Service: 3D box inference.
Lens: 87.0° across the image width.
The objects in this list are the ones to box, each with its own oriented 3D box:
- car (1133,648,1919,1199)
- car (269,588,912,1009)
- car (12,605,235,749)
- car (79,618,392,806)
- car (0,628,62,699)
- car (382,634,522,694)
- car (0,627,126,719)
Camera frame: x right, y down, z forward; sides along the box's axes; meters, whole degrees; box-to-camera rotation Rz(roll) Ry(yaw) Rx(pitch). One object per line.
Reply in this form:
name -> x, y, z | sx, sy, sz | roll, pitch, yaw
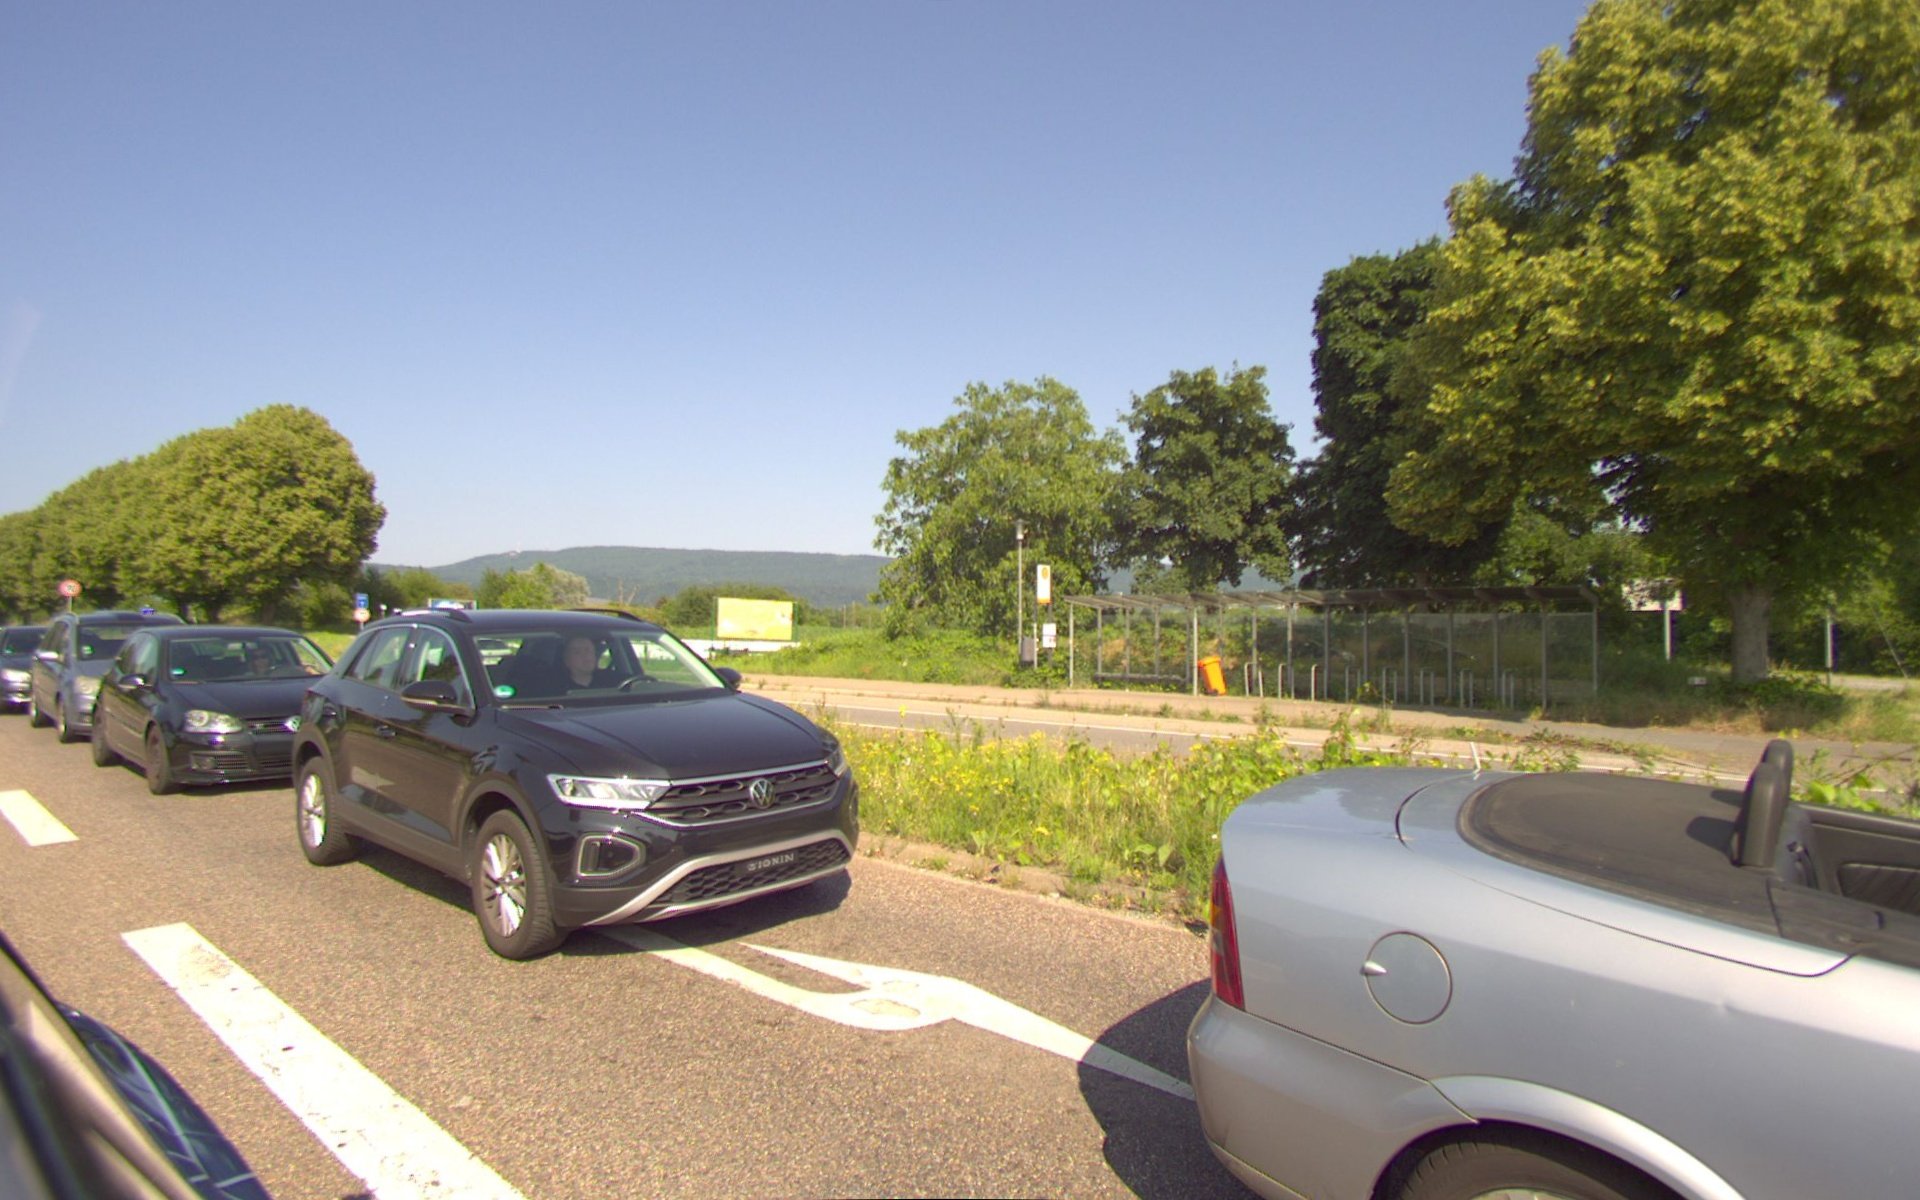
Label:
car -> 2.438, 0.771, 1.414 | 4.096, 1.345, 1.656 | -1, -3, 42
car -> -2.331, 0.792, 5.774 | 4.096, 1.559, 1.710 | -2, -2, 42
car -> -11.591, 0.951, 13.916 | 4.355, 1.685, 1.723 | -2, -2, 42
car -> -7.300, 0.947, 10.039 | 4.096, 1.486, 1.648 | -2, -2, 42
car -> -21.378, 1.352, 22.323 | 4.639, 1.436, 1.784 | -1, -1, 41
car -> -14.163, 1.730, 28.147 | 4.142, 1.527, 1.864 | -1, -3, 38
car -> -16.167, 1.201, 17.769 | 4.353, 1.421, 1.696 | -1, -2, 42
